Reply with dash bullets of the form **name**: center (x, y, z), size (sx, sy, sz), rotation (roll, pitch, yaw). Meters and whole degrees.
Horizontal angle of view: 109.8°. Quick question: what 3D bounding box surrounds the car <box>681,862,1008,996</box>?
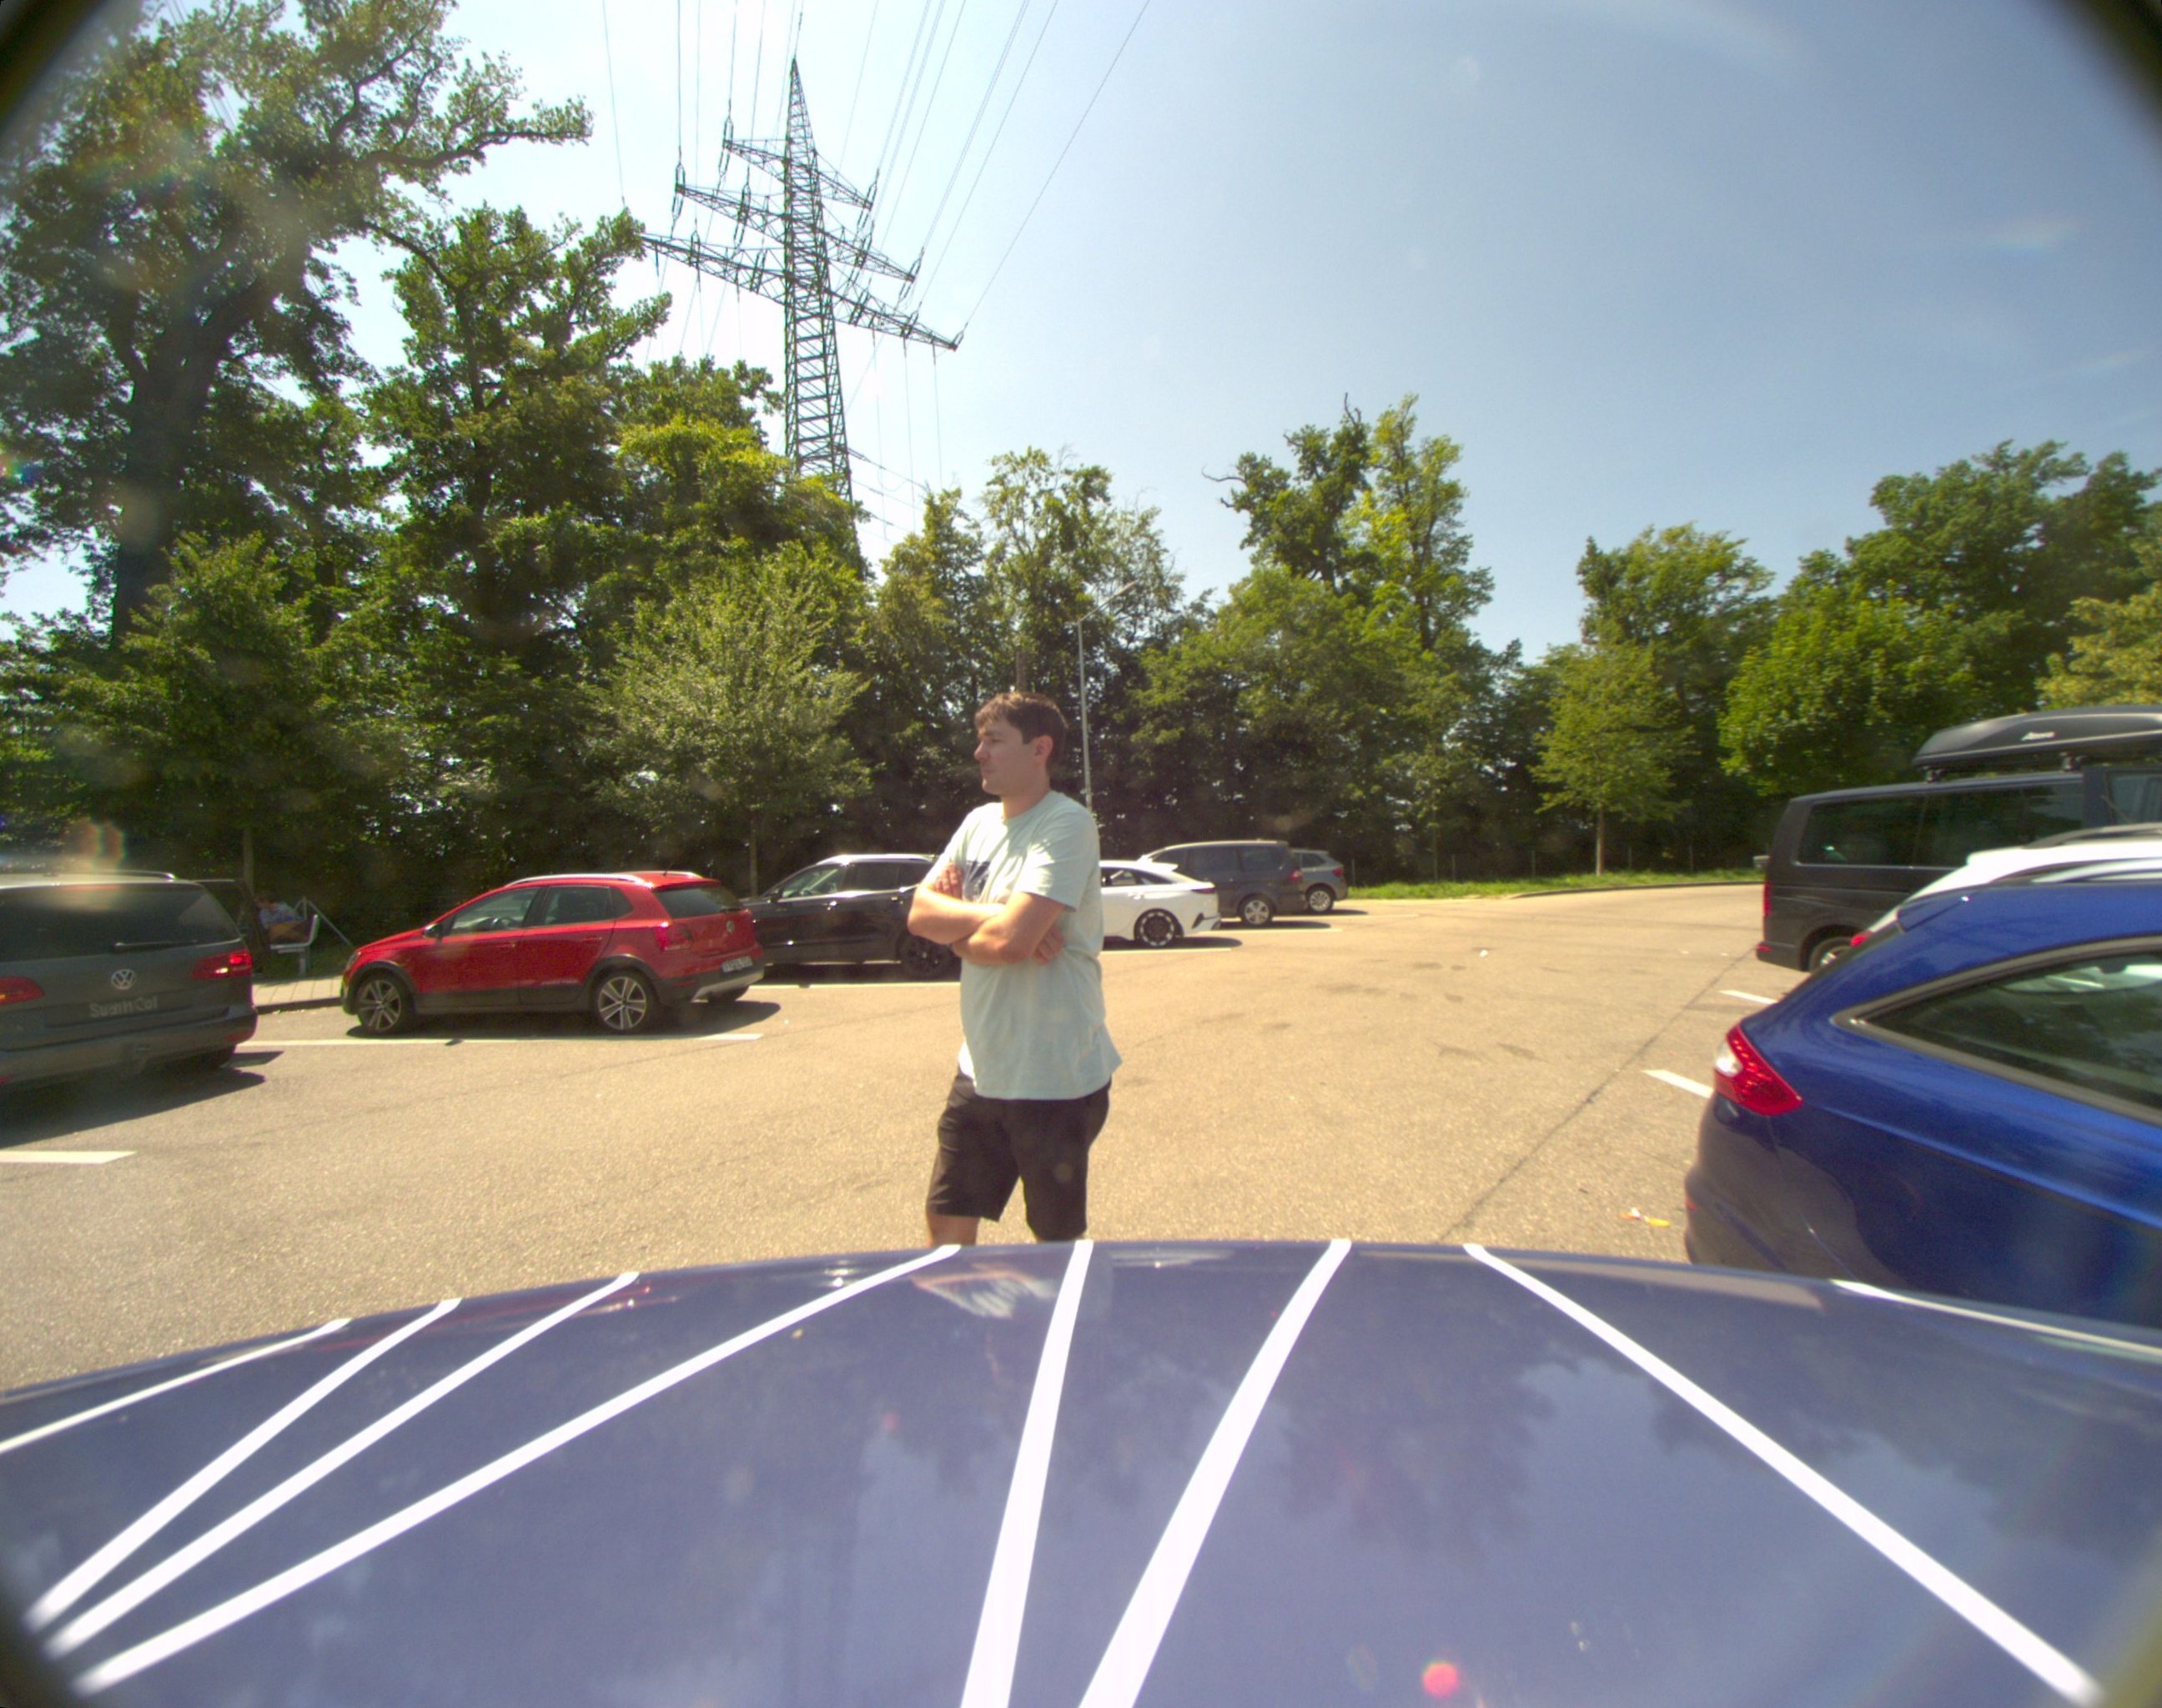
- **car**: center (-3.016, 0.940, 10.262), size (3.806, 1.538, 1.759), rotation (-1, 1, 2)

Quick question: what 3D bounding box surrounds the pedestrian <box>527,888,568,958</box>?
- **pedestrian**: center (-10.177, 1.299, 14.505), size (0.490, 1.291, 0.506), rotation (-2, 0, 41)

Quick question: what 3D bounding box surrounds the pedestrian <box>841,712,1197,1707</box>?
- **pedestrian**: center (-0.206, 0.668, 1.826), size (0.634, 1.857, 0.747), rotation (-2, 0, -17)

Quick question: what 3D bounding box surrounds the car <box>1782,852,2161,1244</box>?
- **car**: center (4.772, 0.704, 2.399), size (1.607, 1.405, 3.743), rotation (-2, -1, -1)

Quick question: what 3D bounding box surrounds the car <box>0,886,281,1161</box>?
- **car**: center (-8.350, 1.096, 5.418), size (3.950, 1.581, 1.753), rotation (-1, 1, 11)

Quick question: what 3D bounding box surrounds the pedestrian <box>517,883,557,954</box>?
- **pedestrian**: center (-10.963, 1.282, 15.310), size (0.490, 1.367, 0.506), rotation (-2, 0, 41)

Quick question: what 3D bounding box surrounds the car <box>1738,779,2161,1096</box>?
- **car**: center (7.299, 0.458, 4.996), size (2.048, 1.850, 4.430), rotation (-2, -1, -1)

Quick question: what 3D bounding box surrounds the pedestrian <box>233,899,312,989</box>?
- **pedestrian**: center (-11.766, 1.290, 11.067), size (0.680, 1.211, 0.675), rotation (-4, -2, 36)

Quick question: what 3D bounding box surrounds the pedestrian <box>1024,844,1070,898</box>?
- **pedestrian**: center (-0.832, 0.414, 18.724), size (0.890, 1.292, 0.865), rotation (-2, 0, 11)

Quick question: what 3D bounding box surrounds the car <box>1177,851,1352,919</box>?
- **car**: center (4.249, 0.710, 18.106), size (3.805, 1.468, 1.743), rotation (-1, 1, 5)

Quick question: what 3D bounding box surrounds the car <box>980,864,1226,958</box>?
- **car**: center (0.399, 0.909, 12.712), size (3.805, 1.359, 1.803), rotation (-1, 1, 5)

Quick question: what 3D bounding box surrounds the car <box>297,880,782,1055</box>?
- **car**: center (-5.249, 1.065, 7.635), size (3.804, 1.449, 1.637), rotation (-1, 1, 7)

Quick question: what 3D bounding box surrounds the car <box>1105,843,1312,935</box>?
- **car**: center (2.501, 0.683, 15.462), size (3.882, 1.680, 1.882), rotation (-1, 0, 5)
